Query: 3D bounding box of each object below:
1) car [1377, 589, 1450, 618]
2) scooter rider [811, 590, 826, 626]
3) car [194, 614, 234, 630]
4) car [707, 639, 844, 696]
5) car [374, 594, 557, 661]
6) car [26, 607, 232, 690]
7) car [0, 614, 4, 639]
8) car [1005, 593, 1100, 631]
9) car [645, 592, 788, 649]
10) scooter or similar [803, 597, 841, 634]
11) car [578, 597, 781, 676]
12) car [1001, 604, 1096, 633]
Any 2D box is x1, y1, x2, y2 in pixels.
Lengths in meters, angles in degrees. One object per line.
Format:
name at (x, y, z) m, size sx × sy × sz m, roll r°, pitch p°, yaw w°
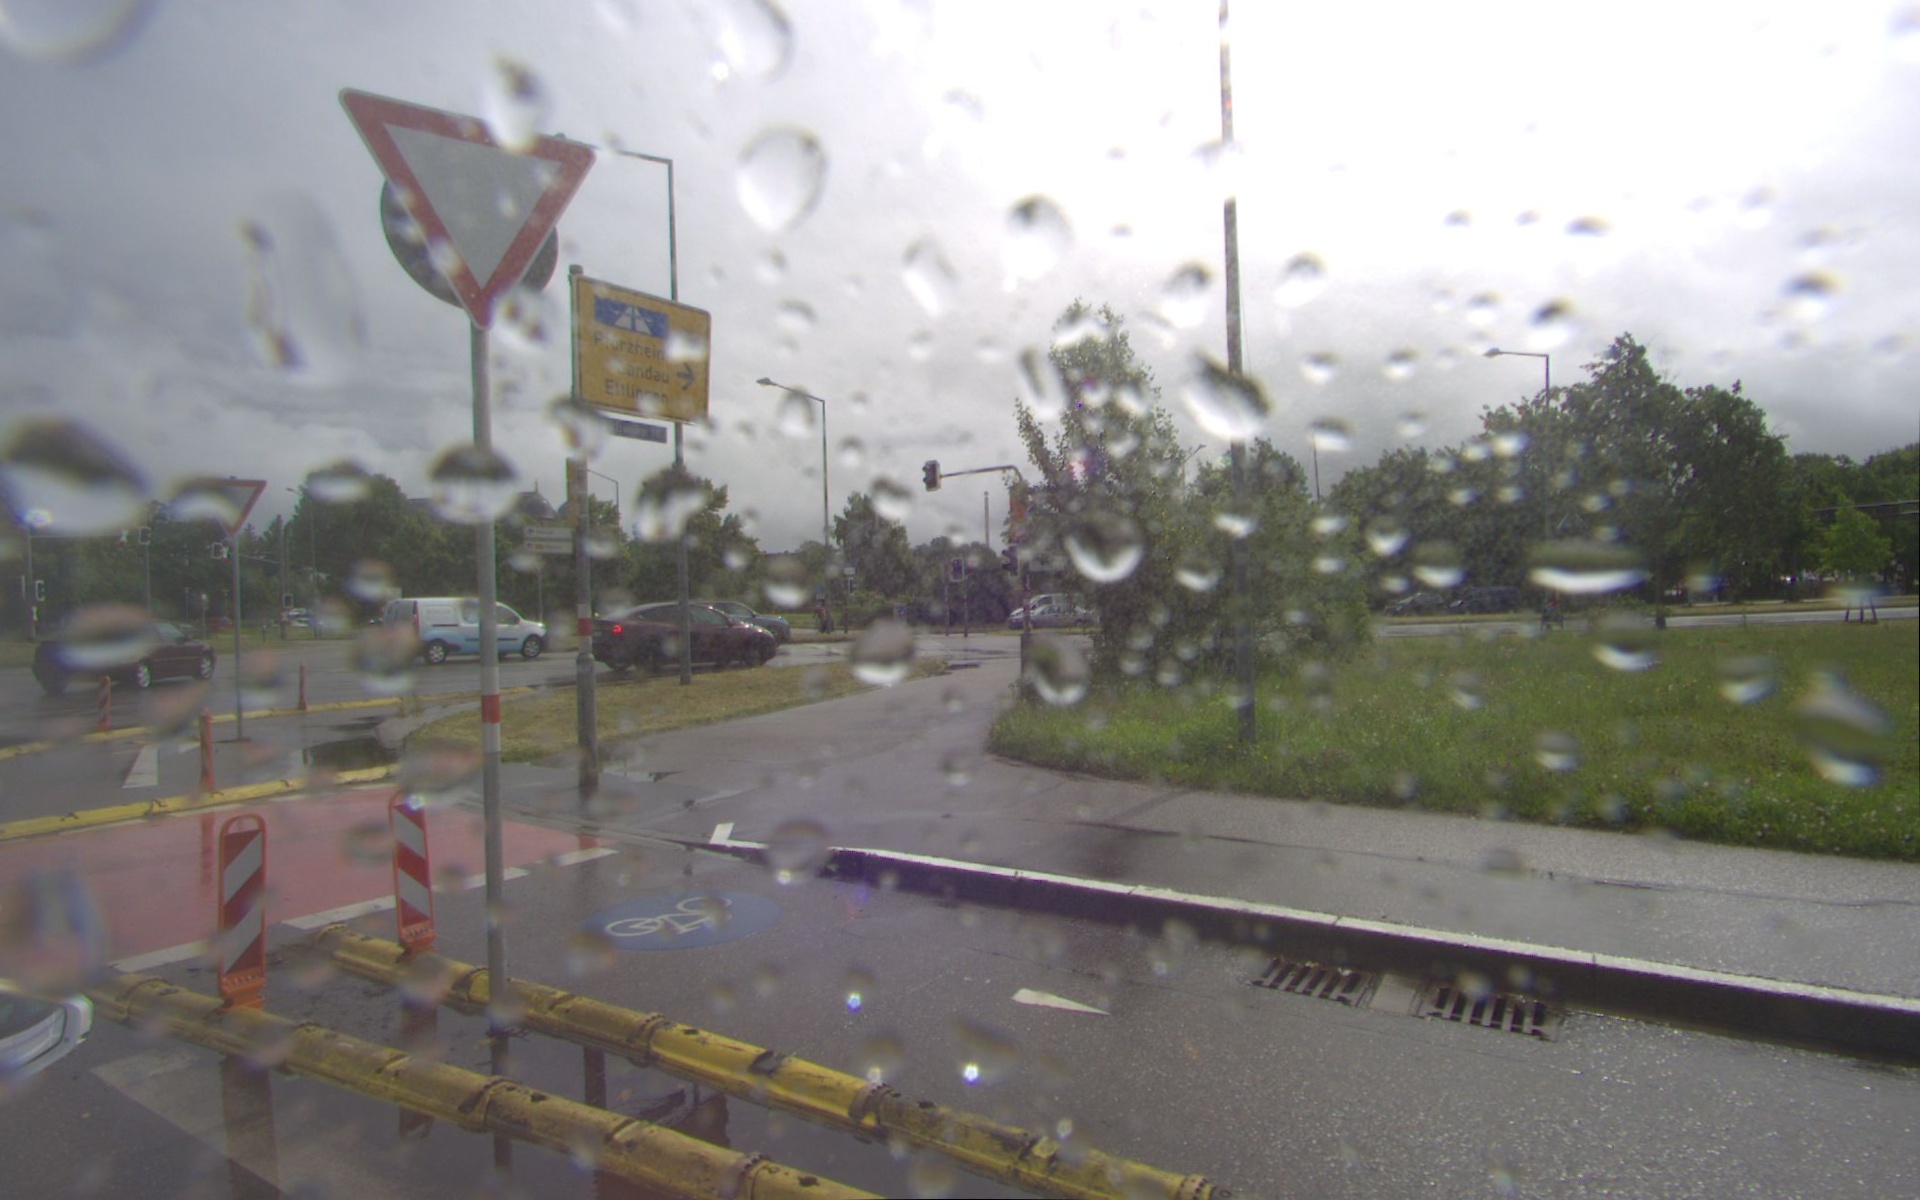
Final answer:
car at (25.607, 0.181, 56.579) m, size 3.536 × 1.602 × 1.565 m, roll 0°, pitch 1°, yaw -15°
scooter rider at (-8.101, 0.465, 57.212) m, size 0.695 × 2.039 × 0.768 m, roll 0°, pitch -1°, yaw -24°
car at (-78.004, 2.291, 104.702) m, size 3.586 × 1.530 × 1.646 m, roll -1°, pitch 0°, yaw 19°
car at (-5.896, 2.115, 32.248) m, size 3.952 × 1.548 × 1.796 m, roll -1°, pitch 1°, yaw -38°
car at (-14.264, 0.724, 29.153) m, size 1.839 × 1.786 × 4.530 m, roll 0°, pitch 0°, yaw 30°
car at (-17.177, 0.937, 20.962) m, size 1.689 × 1.482 × 3.994 m, roll 0°, pitch 1°, yaw -13°
car at (-58.072, 1.604, 58.066) m, size 3.439 × 1.473 × 1.546 m, roll -1°, pitch 1°, yaw -18°
car at (5.014, 0.625, 54.231) m, size 4.714 × 2.014 × 2.075 m, roll 0°, pitch 1°, yaw -16°
car at (-8.225, 0.636, 34.013) m, size 4.270 × 1.781 × 2.026 m, roll -1°, pitch 1°, yaw -38°
scooter or similar at (-7.785, 0.913, 56.314) m, size 1.220 × 2.039 × 3.397 m, roll 0°, pitch -2°, yaw -25°
car at (-6.817, 0.816, 24.671) m, size 4.453 × 1.679 × 1.857 m, roll -2°, pitch 2°, yaw -44°
car at (4.478, 0.934, 50.859) m, size 4.469 × 1.399 × 1.864 m, roll 0°, pitch 1°, yaw -15°
